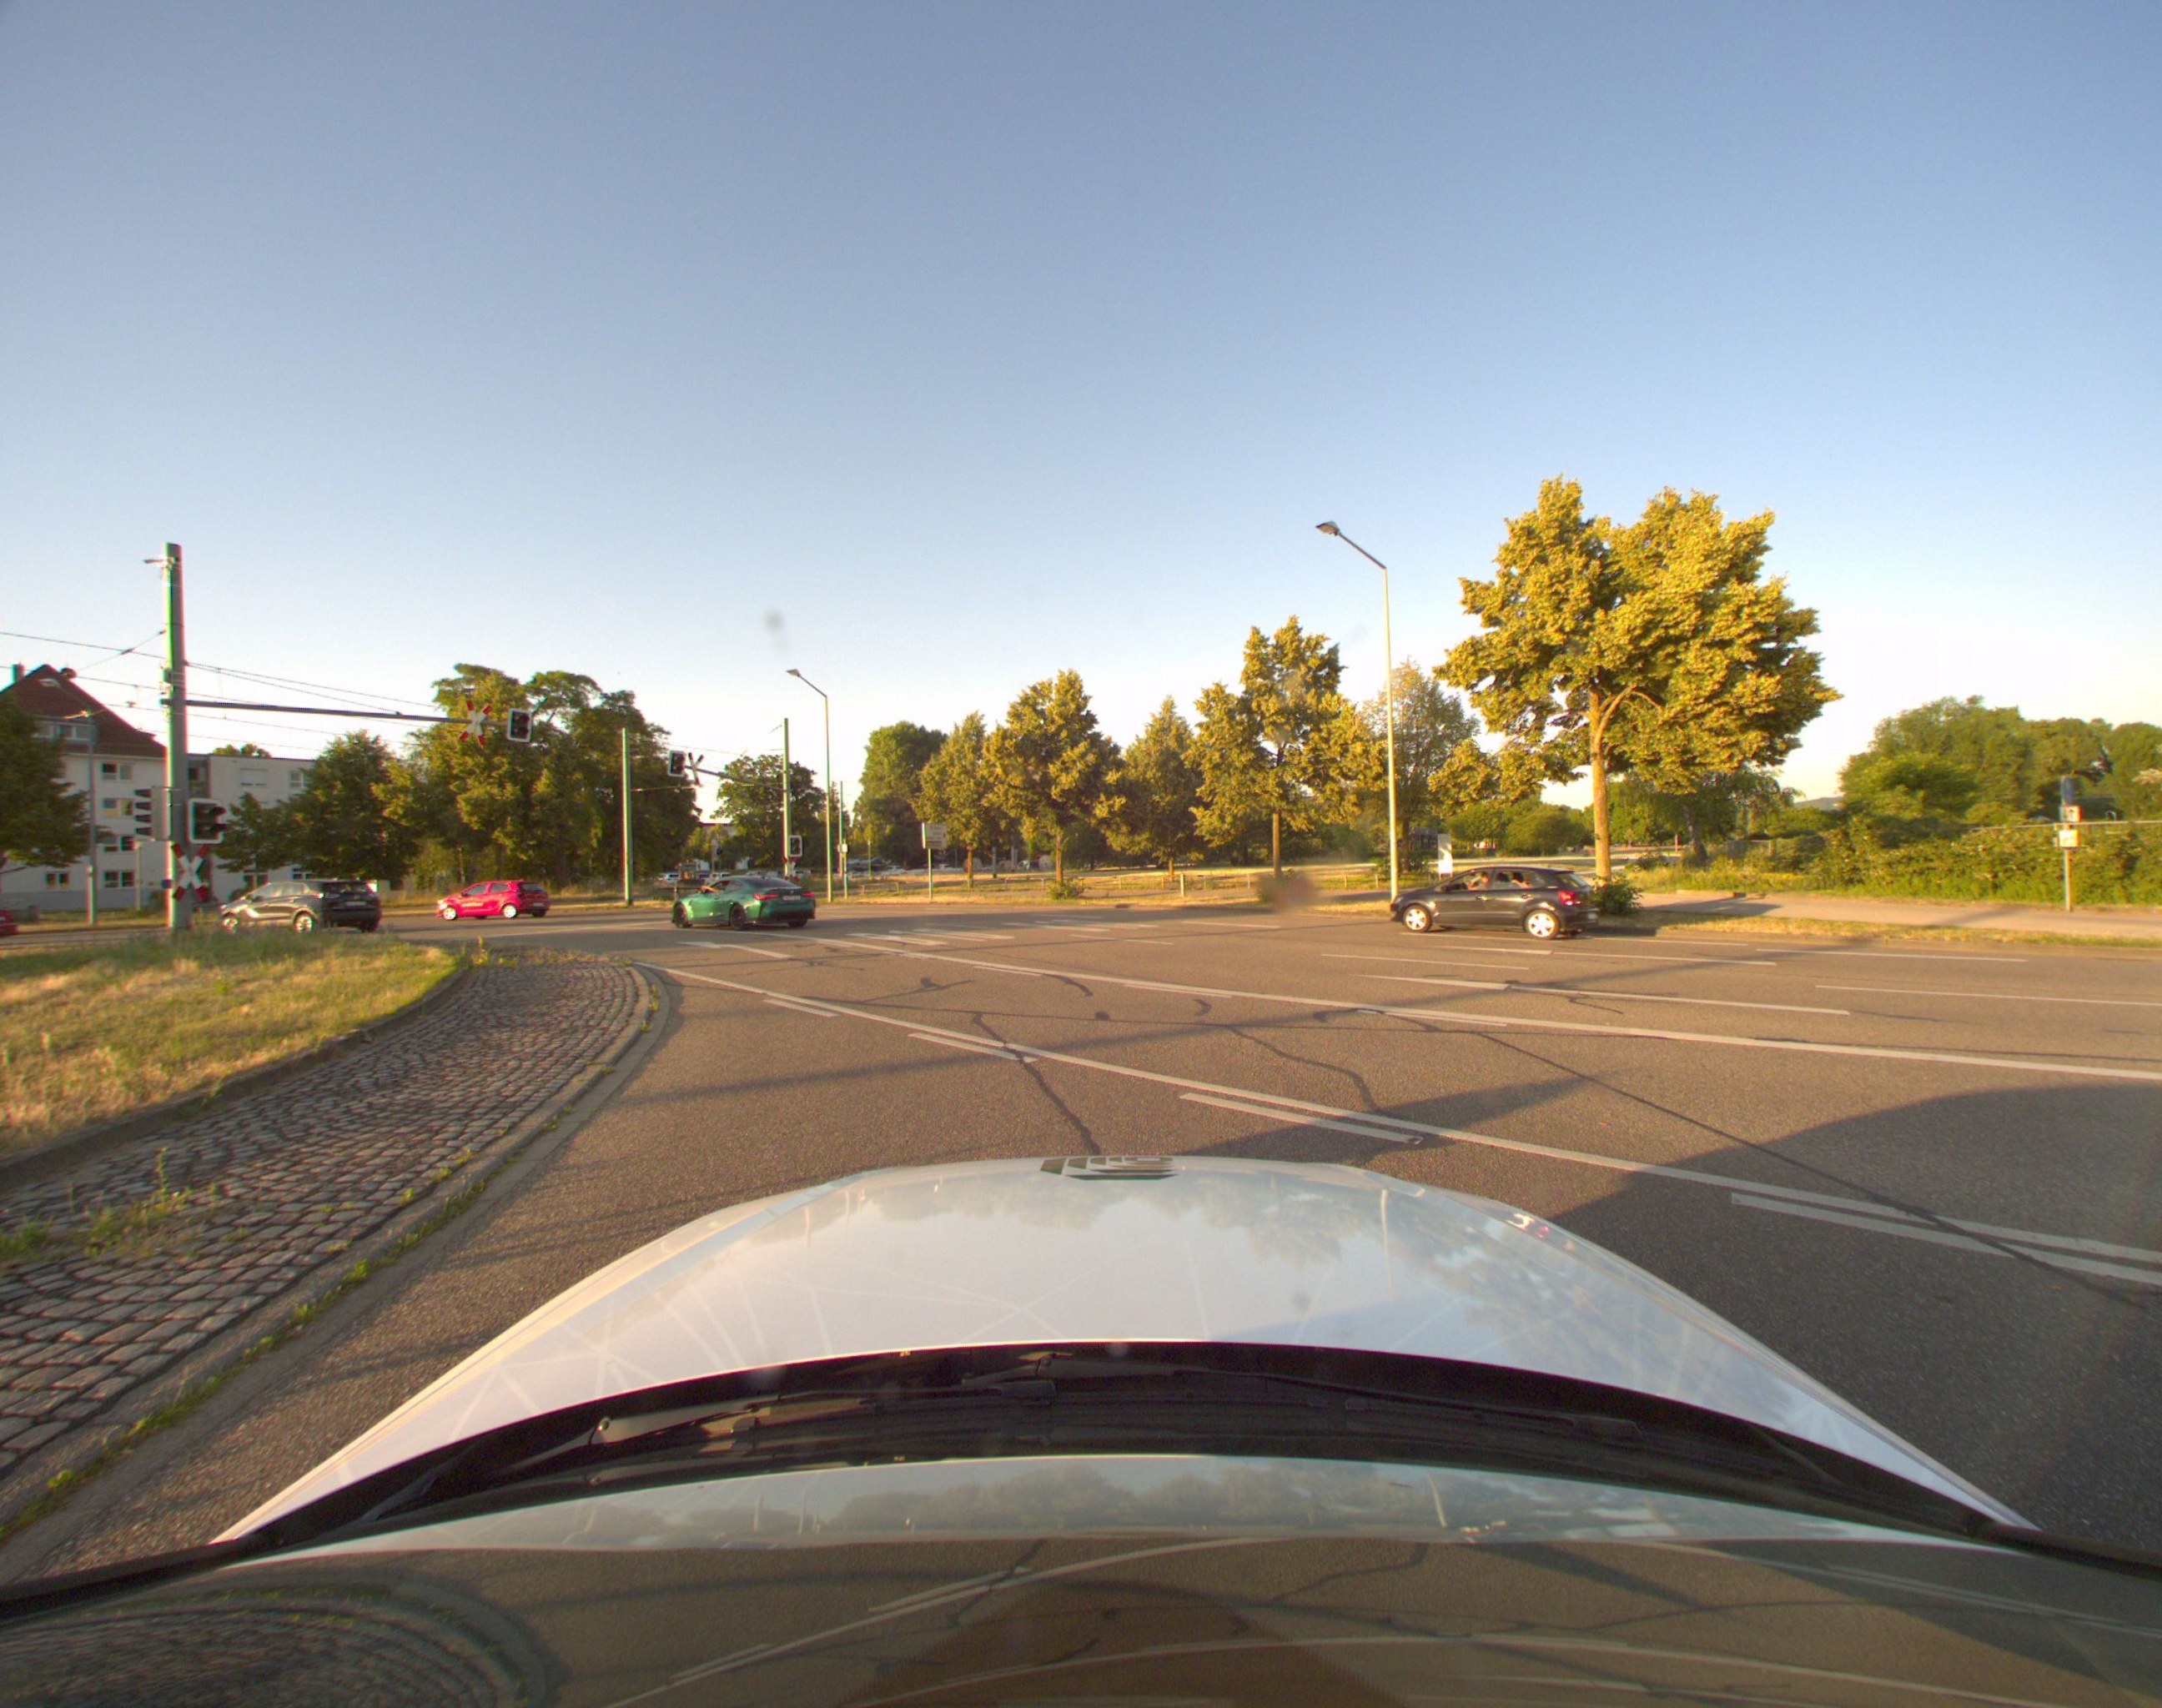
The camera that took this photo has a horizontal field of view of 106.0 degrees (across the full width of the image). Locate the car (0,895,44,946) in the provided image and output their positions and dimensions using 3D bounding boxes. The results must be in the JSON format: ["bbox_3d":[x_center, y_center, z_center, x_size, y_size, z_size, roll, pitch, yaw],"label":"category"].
[{"bbox_3d":[-32.427,1.947,22.444,4.489,1.392,1.886,-2,0,-14],"label":"car"}]

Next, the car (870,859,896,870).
[{"bbox_3d":[-35.655,1.896,146.441,3.964,1.706,2.005,-2,0,8],"label":"car"}]

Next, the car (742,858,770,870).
[{"bbox_3d":[-57.810,1.817,144.940,1.974,2.013,4.143,-2,0,36],"label":"car"}]

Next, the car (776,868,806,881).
[{"bbox_3d":[-41.275,2.892,116.000,4.001,1.662,1.889,-2,0,-20],"label":"car"}]

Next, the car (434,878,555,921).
[{"bbox_3d":[-22.518,1.740,31.360,3.464,1.500,1.644,-2,0,3],"label":"car"}]

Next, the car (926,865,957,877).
[{"bbox_3d":[-19.968,2.377,116.483,3.948,1.604,2.013,-2,0,34],"label":"car"}]

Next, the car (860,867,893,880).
[{"bbox_3d":[-26.648,2.490,105.990,3.948,1.604,2.013,-2,0,34],"label":"car"}]

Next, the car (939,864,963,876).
[{"bbox_3d":[-20.815,2.533,129.991,2.008,1.752,4.549,-1,1,-35],"label":"car"}]

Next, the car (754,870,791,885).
[{"bbox_3d":[-35.485,2.717,93.675,3.948,1.604,2.013,-2,0,34],"label":"car"}]

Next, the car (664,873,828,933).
[{"bbox_3d":[-9.009,1.241,21.750,4.673,1.371,2.013,-2,0,39],"label":"car"}]

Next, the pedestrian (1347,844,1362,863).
[{"bbox_3d":[23.817,-0.035,70.948,1.064,1.617,0.911,-2,0,4],"label":"pedestrian"}]

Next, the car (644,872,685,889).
[{"bbox_3d":[-42.632,2.687,83.329,3.948,1.604,2.013,-2,0,34],"label":"car"}]

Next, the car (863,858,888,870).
[{"bbox_3d":[-37.931,1.786,150.047,1.975,2.013,4.025,-2,0,42],"label":"car"}]

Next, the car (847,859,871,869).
[{"bbox_3d":[-41.720,1.896,153.026,1.974,1.816,4.026,-2,0,37],"label":"car"}]

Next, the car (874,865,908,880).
[{"bbox_3d":[-27.627,2.690,118.515,4.578,2.013,1.995,-2,0,-7],"label":"car"}]

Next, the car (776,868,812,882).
[{"bbox_3d":[-33.677,2.457,95.434,3.948,1.604,2.013,-2,0,34],"label":"car"}]

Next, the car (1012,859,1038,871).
[{"bbox_3d":[-7.931,1.526,115.263,1.748,1.618,3.954,-1,0,-39],"label":"car"}]

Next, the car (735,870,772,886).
[{"bbox_3d":[-37.030,2.716,92.065,3.948,1.604,2.013,-2,0,34],"label":"car"}]

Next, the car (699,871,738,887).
[{"bbox_3d":[-39.000,2.694,87.546,3.948,1.604,2.013,-2,0,34],"label":"car"}]

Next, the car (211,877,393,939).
[{"bbox_3d":[-22.291,1.537,23.359,3.959,1.584,1.903,-2,0,13],"label":"car"}]

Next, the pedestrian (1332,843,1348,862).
[{"bbox_3d":[22.702,-0.103,71.360,1.064,1.617,0.911,-2,0,4],"label":"pedestrian"}]

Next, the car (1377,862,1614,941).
[{"bbox_3d":[8.344,0.892,16.660,1.704,1.354,3.952,-2,0,-42],"label":"car"}]

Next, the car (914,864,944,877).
[{"bbox_3d":[-21.443,2.321,114.789,3.948,1.604,2.013,-2,0,34],"label":"car"}]

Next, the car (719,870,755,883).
[{"bbox_3d":[-46.090,3.025,109.149,1.878,1.662,4.026,-2,0,37],"label":"car"}]

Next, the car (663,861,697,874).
[{"bbox_3d":[-65.638,2.248,133.331,1.974,2.013,4.627,-2,0,32],"label":"car"}]

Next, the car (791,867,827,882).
[{"bbox_3d":[-32.612,2.467,97.613,3.948,1.604,2.013,-2,0,34],"label":"car"}]

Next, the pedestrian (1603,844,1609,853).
[{"bbox_3d":[96.925,-0.965,150.458,0.843,1.661,0.985,-2,0,32],"label":"pedestrian"}]

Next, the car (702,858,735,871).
[{"bbox_3d":[-61.899,1.802,139.070,1.974,2.013,4.628,-2,0,36],"label":"car"}]

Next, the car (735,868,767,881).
[{"bbox_3d":[-46.205,2.795,113.949,4.005,1.662,1.984,-2,0,-24],"label":"car"}]

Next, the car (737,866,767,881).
[{"bbox_3d":[-47.559,2.780,117.664,4.006,2.013,1.984,-2,0,-24],"label":"car"}]

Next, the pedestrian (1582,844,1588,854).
[{"bbox_3d":[93.417,-0.936,150.844,0.844,1.661,0.984,-2,0,27],"label":"pedestrian"}]

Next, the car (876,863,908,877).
[{"bbox_3d":[-29.352,2.421,126.703,4.578,2.013,1.995,-2,0,-7],"label":"car"}]
